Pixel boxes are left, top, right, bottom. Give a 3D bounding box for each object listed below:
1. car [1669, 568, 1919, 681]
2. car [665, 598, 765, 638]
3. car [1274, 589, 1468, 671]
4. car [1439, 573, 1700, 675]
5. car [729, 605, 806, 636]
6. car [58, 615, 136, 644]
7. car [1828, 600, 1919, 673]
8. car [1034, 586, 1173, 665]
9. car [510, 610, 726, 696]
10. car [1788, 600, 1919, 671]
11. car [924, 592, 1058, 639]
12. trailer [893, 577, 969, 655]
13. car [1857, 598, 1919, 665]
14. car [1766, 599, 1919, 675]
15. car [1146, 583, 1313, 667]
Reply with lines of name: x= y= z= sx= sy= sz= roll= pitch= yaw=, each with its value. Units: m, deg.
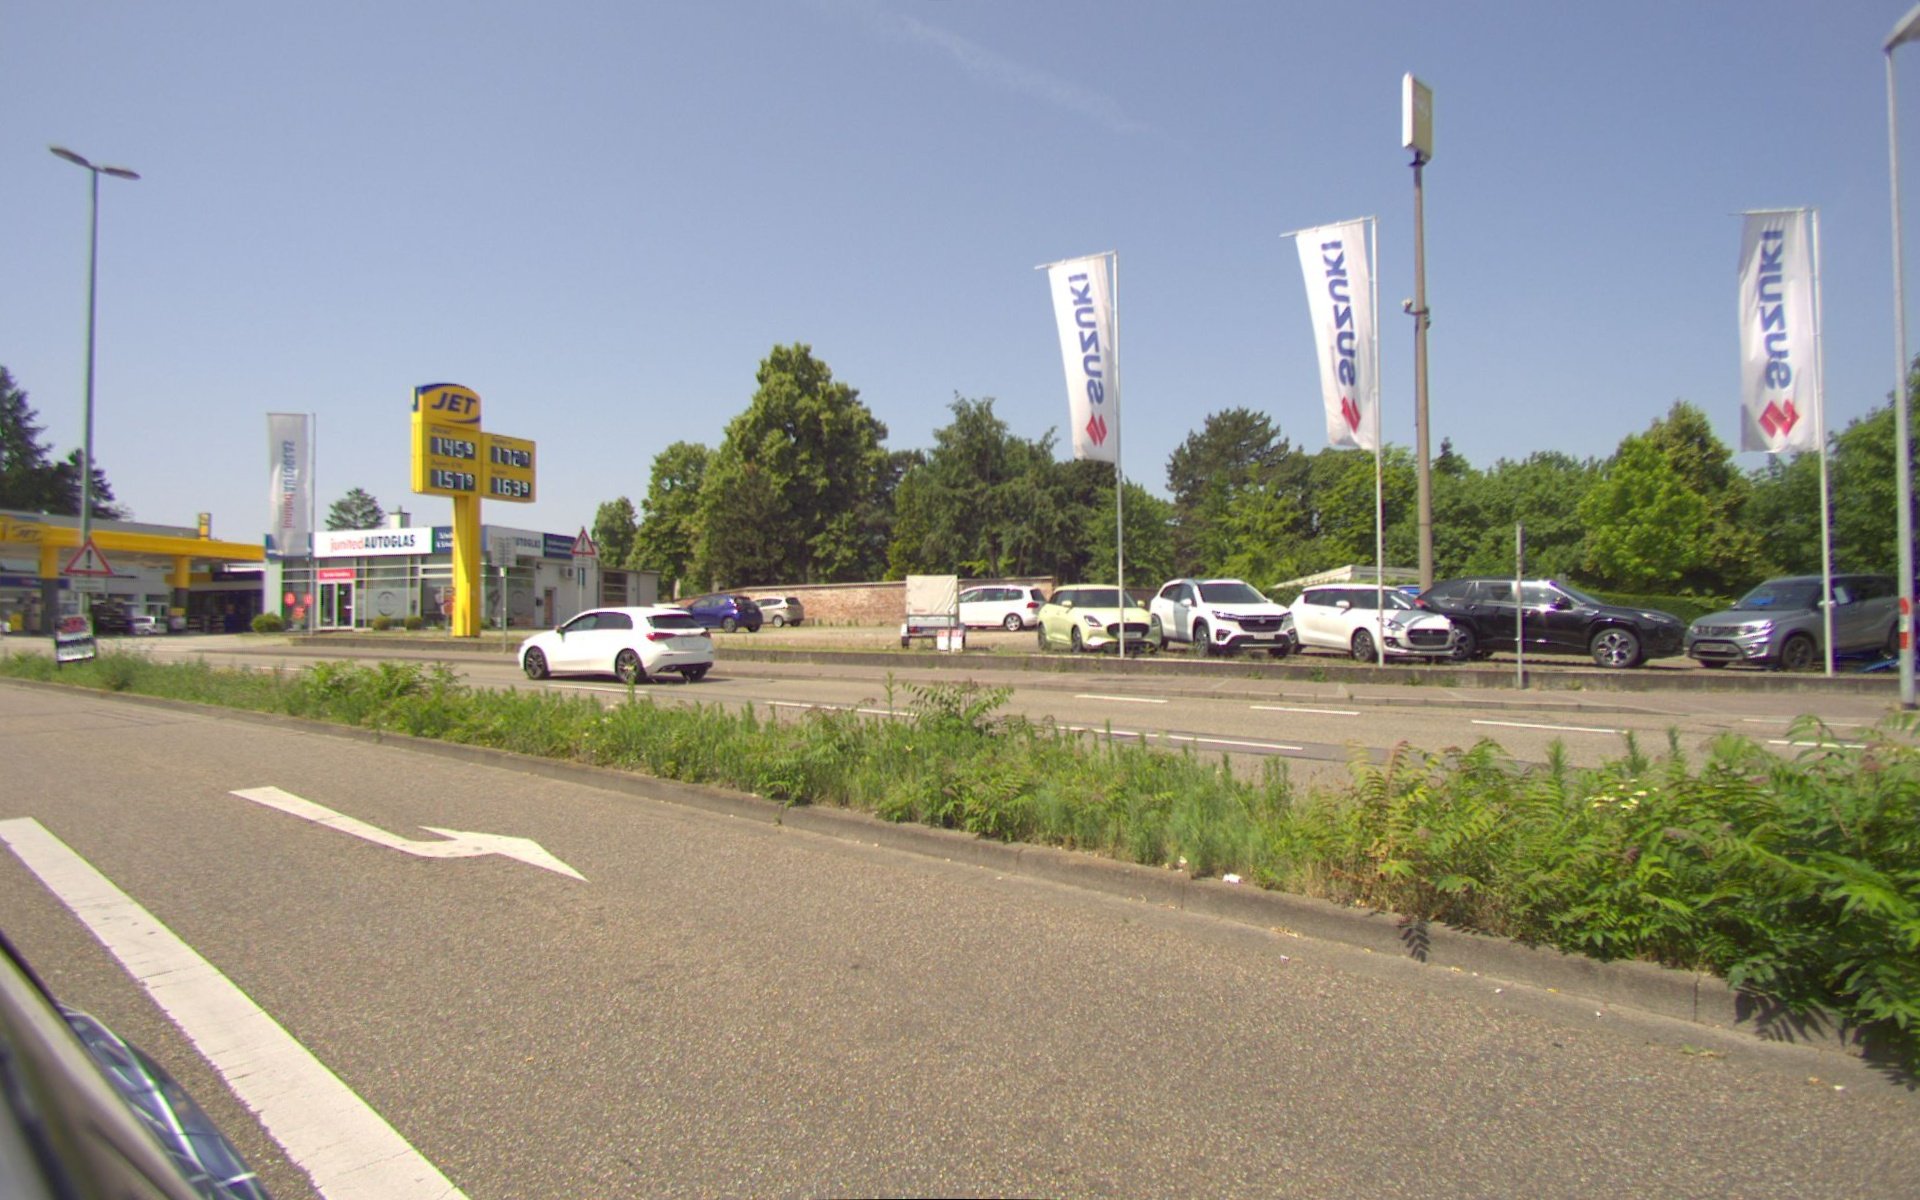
car: x=15.744 y=0.450 z=18.702 sx=4.239 sy=1.916 sz=1.834 roll=1 pitch=0 yaw=-11
car: x=-9.767 y=0.719 z=40.327 sx=3.609 sy=1.517 sz=1.680 roll=-1 pitch=-1 yaw=24
car: x=7.917 y=0.543 z=19.927 sx=1.688 sy=1.443 sz=3.970 roll=1 pitch=0 yaw=-9
car: x=11.564 y=0.406 z=19.340 sx=4.013 sy=1.737 sz=1.820 roll=1 pitch=0 yaw=42
car: x=-9.770 y=1.046 z=51.434 sx=3.609 sy=1.517 sz=1.607 roll=-1 pitch=-1 yaw=24
car: x=-48.557 y=1.625 z=56.936 sx=4.186 sy=1.554 sz=1.644 roll=-1 pitch=0 yaw=23
car: x=23.771 y=0.865 z=24.586 sx=4.001 sy=1.720 sz=1.880 roll=-1 pitch=0 yaw=43
car: x=2.983 y=0.498 z=21.864 sx=1.729 sy=1.521 sz=3.830 roll=-1 pitch=0 yaw=-13
car: x=-6.776 y=0.956 z=19.888 sx=4.257 sy=1.435 sz=1.852 roll=0 pitch=1 yaw=34
car: x=21.778 y=0.821 z=23.377 sx=4.000 sy=1.582 sz=1.815 roll=-1 pitch=-2 yaw=43
car: x=1.141 y=0.572 z=37.579 sx=4.726 sy=1.662 sz=1.682 roll=-1 pitch=-1 yaw=23
trailer: x=-0.655 y=0.359 z=23.500 sx=1.670 sy=1.717 sz=2.435 roll=-1 pitch=0 yaw=0
car: x=25.698 y=0.787 z=25.933 sx=4.001 sy=1.696 sz=1.842 roll=-1 pitch=0 yaw=43
car: x=20.088 y=0.768 z=21.912 sx=4.001 sy=1.548 sz=1.770 roll=-1 pitch=0 yaw=43
car: x=5.416 y=0.466 z=20.913 sx=1.888 sy=1.552 sz=3.970 roll=-1 pitch=0 yaw=-8
